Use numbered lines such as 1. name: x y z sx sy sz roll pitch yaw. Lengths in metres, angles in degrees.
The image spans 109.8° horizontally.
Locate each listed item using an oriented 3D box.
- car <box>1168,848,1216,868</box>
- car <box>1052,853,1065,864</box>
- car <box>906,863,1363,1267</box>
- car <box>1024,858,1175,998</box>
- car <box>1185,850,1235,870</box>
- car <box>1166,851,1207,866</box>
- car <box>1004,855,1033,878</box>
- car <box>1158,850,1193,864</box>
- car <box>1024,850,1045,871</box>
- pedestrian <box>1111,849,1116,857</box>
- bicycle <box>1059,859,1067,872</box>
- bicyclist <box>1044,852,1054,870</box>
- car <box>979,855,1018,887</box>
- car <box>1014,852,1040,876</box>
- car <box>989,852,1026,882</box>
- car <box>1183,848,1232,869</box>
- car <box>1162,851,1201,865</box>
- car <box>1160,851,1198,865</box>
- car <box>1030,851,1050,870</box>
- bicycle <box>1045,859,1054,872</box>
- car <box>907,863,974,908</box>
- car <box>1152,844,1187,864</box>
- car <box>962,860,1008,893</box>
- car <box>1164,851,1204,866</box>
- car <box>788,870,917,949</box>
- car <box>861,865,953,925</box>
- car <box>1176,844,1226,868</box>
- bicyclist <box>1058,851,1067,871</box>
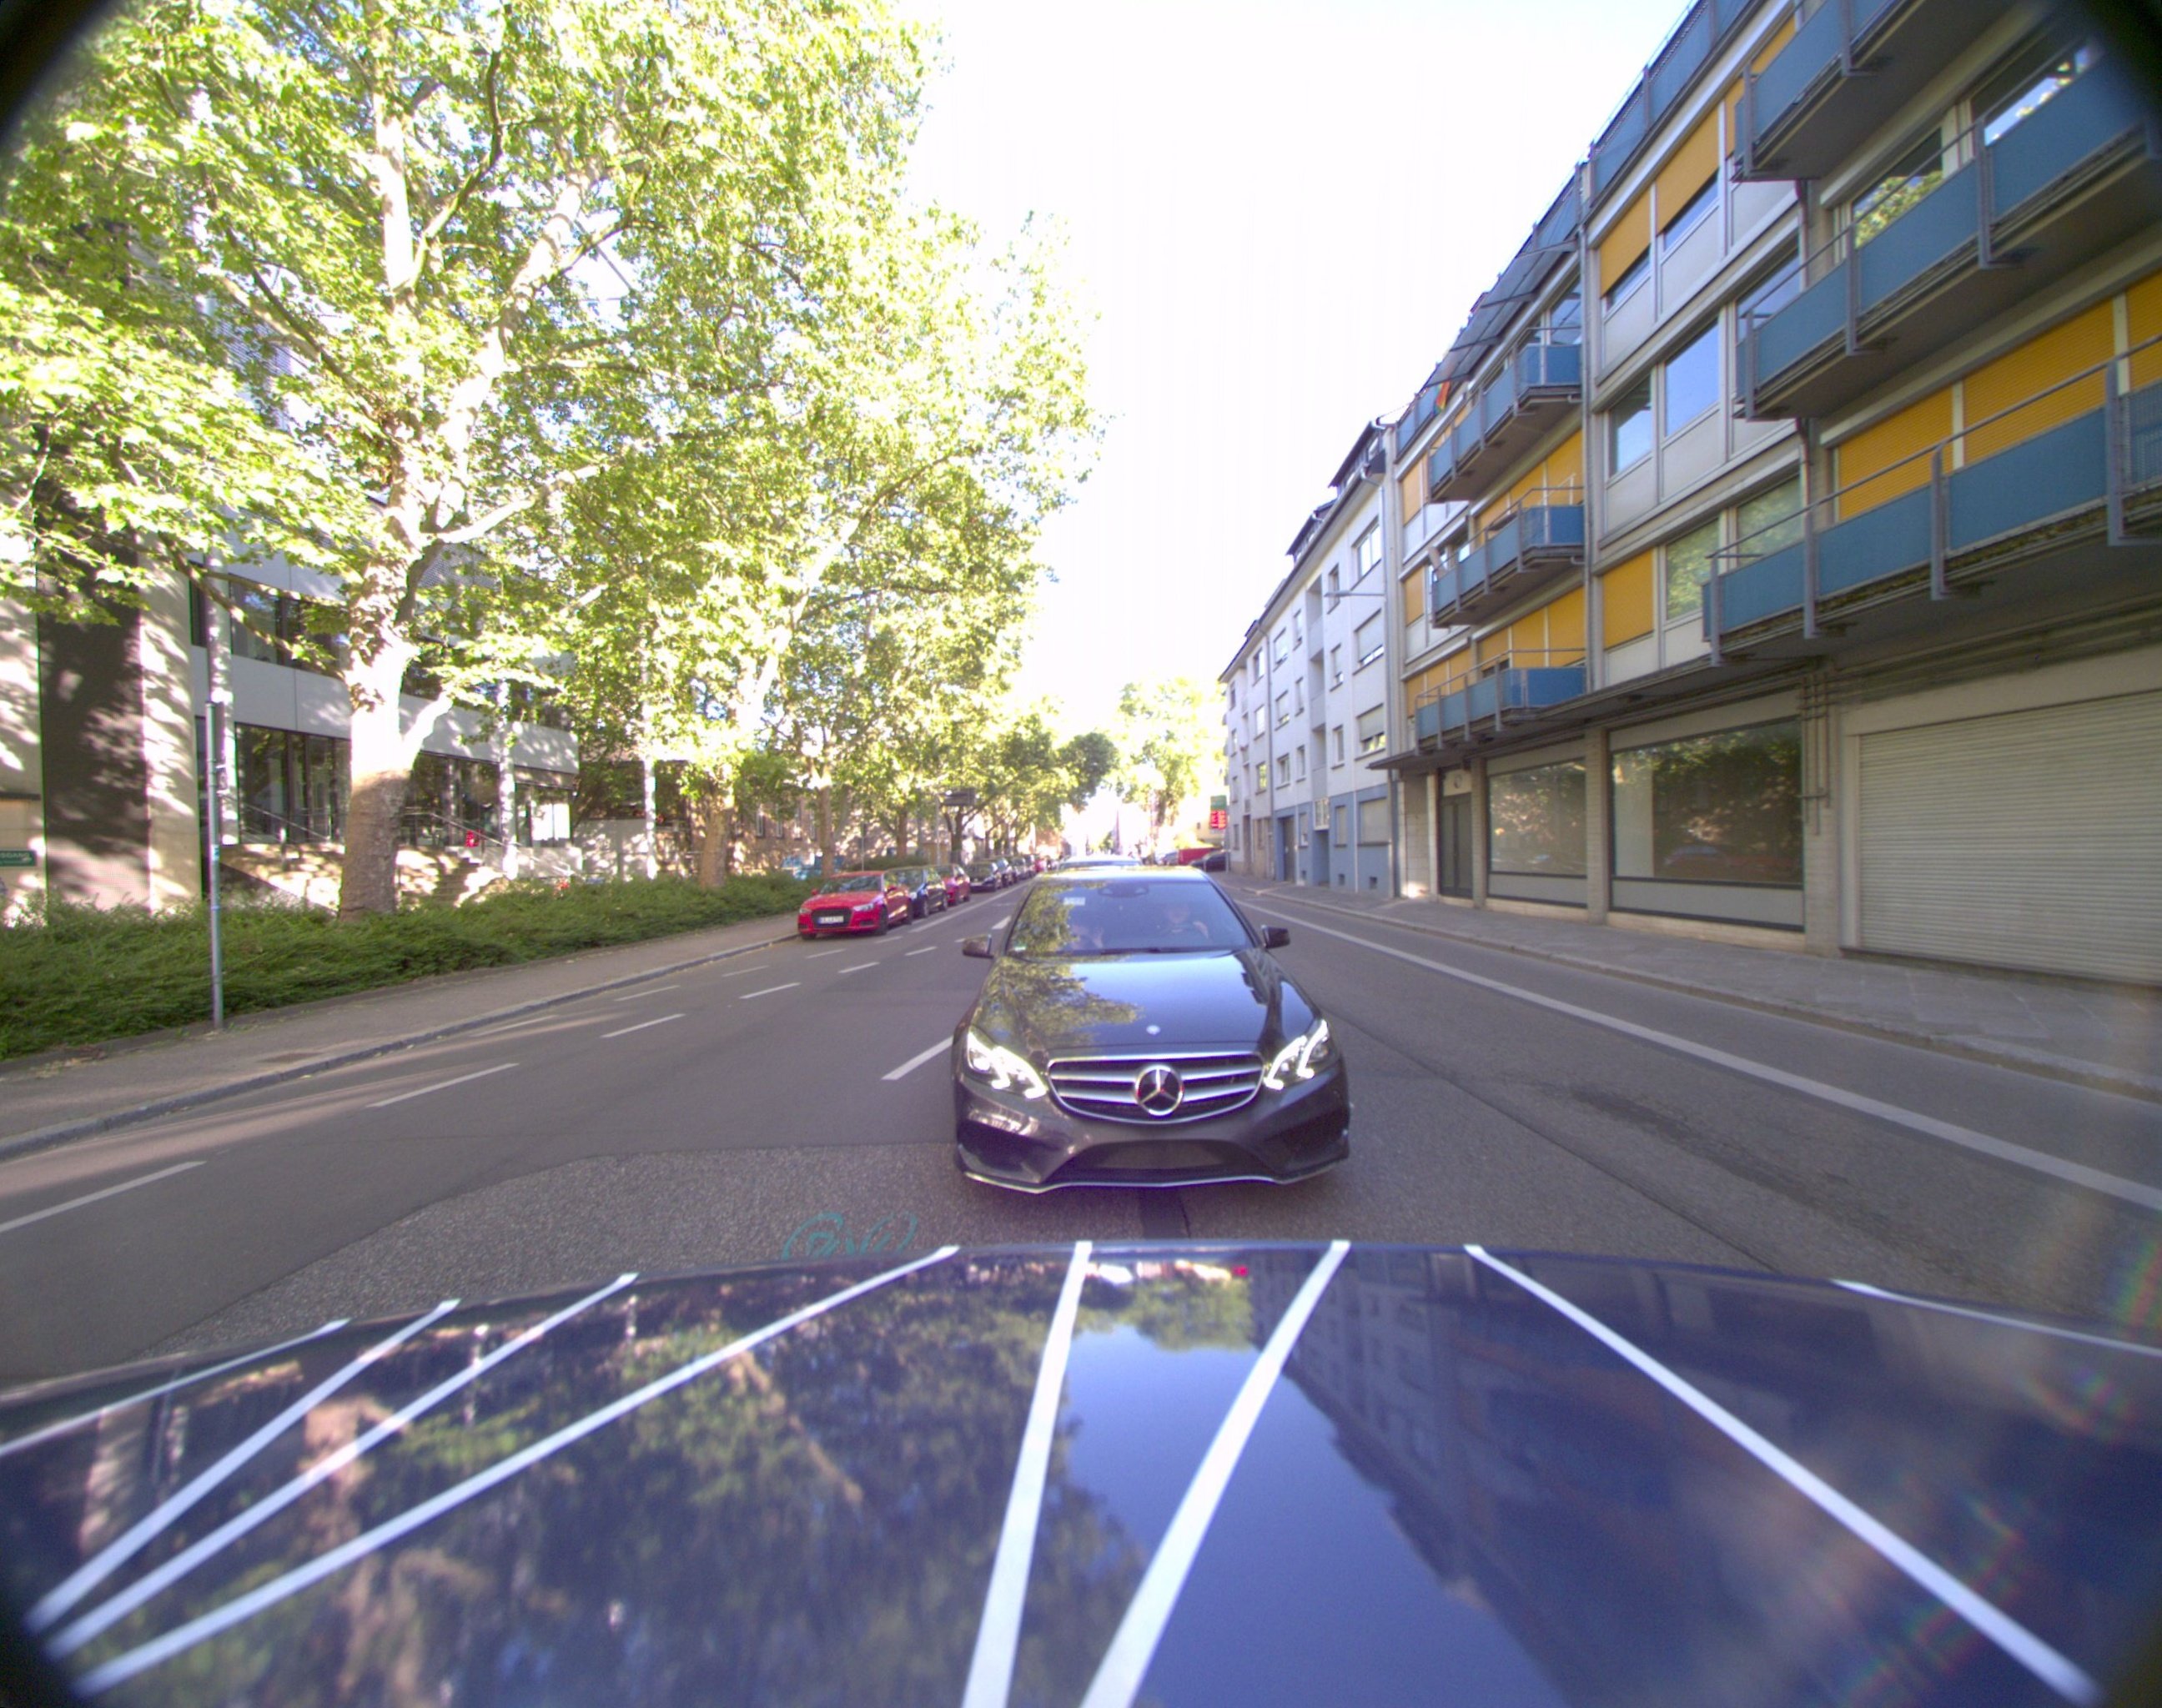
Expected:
1. car: 9.721 0.328 66.766 3.905 1.577 1.603 -2 1 2
2. car: -3.120 0.649 106.820 1.686 1.475 3.836 -2 0 0
3. car: 0.216 0.897 5.274 1.828 1.495 4.293 -2 1 0
4. car: 0.211 0.887 11.172 1.732 1.538 4.293 -2 1 0
5. car: 9.965 0.454 58.721 3.598 1.401 1.534 -2 0 2
6. car: 10.379 0.449 74.957 3.905 1.366 1.594 -2 1 2
7. car: -4.420 0.876 54.504 1.686 1.552 3.868 -2 0 0
8. car: 10.547 0.329 84.806 3.782 1.432 1.539 -2 1 2
9. car: -4.246 0.590 70.218 1.646 1.839 3.836 -2 0 0
10. pedestrian: 8.483 -0.191 197.095 0.882 2.108 0.822 -1 1 32
11. bicycle: -1.547 0.981 65.646 0.667 1.093 1.814 -2 1 0
12. bicyclist: -2.780 0.624 66.423 0.756 1.512 0.768 -2 1 -1
13. car: -4.532 0.909 42.055 1.686 1.610 3.836 -2 0 0
14. car: -4.211 0.754 59.361 1.663 1.704 3.836 -2 0 0
15. car: -4.589 0.773 48.181 1.819 1.758 4.431 -2 0 0
16. car: 10.134 0.354 61.126 3.668 1.501 1.602 -2 1 2
17. car: 10.526 0.424 79.733 3.905 1.325 1.525 -2 1 2
18. car: 10.536 0.397 82.122 3.905 1.325 1.525 -2 1 2
19. car: -4.092 0.636 76.009 1.686 1.749 3.836 -2 0 0
20. bicycle: -2.774 0.970 66.506 0.667 1.093 1.814 -2 1 0
21. car: -5.005 1.095 27.596 1.666 1.426 3.781 -2 0 0
22. car: 10.408 0.021 89.300 3.905 2.164 1.725 -2 1 2
23. car: -4.661 1.049 37.396 1.686 1.443 4.000 -2 0 0
24. car: 10.410 0.425 76.979 3.905 1.366 1.594 -2 1 2
25. car: -5.127 1.191 17.652 1.724 1.412 4.030 -4 0 -1
26. car: -5.008 1.130 22.411 1.686 1.458 4.000 -3 0 0
27. car: 10.080 0.162 63.970 3.905 1.895 1.749 -2 1 2
28. bicyclist: -1.594 0.587 65.593 0.756 1.714 0.768 -2 1 -1
